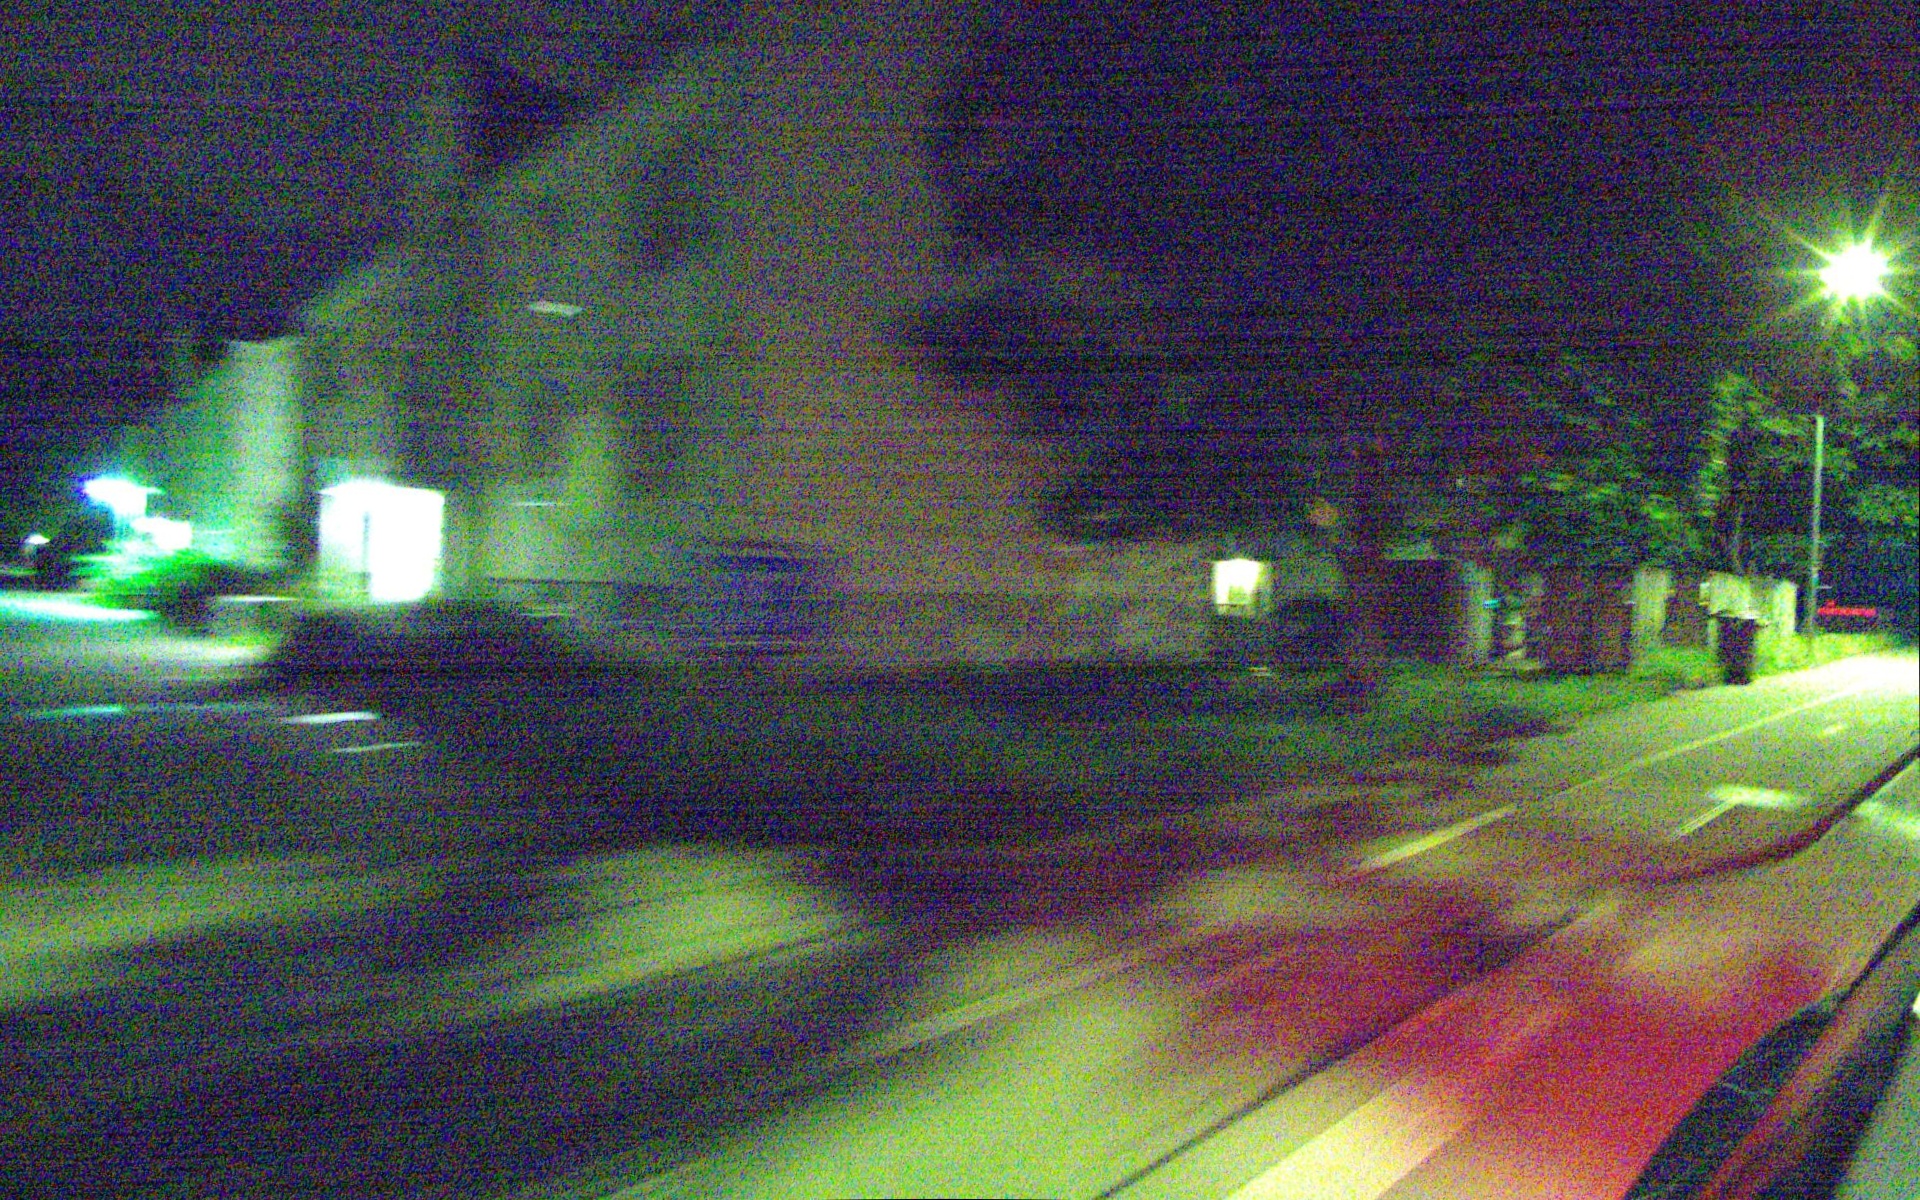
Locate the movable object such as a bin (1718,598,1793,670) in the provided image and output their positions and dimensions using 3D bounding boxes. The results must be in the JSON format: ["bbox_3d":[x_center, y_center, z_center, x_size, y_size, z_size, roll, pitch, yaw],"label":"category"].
[{"bbox_3d":[13.750,0.568,17.492,0.813,1.196,0.835,0,1,-38],"label":"movable object such as a bin"}]

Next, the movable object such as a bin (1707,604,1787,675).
[{"bbox_3d":[13.133,0.638,16.889,0.825,1.133,0.859,0,1,-38],"label":"movable object such as a bin"}]
